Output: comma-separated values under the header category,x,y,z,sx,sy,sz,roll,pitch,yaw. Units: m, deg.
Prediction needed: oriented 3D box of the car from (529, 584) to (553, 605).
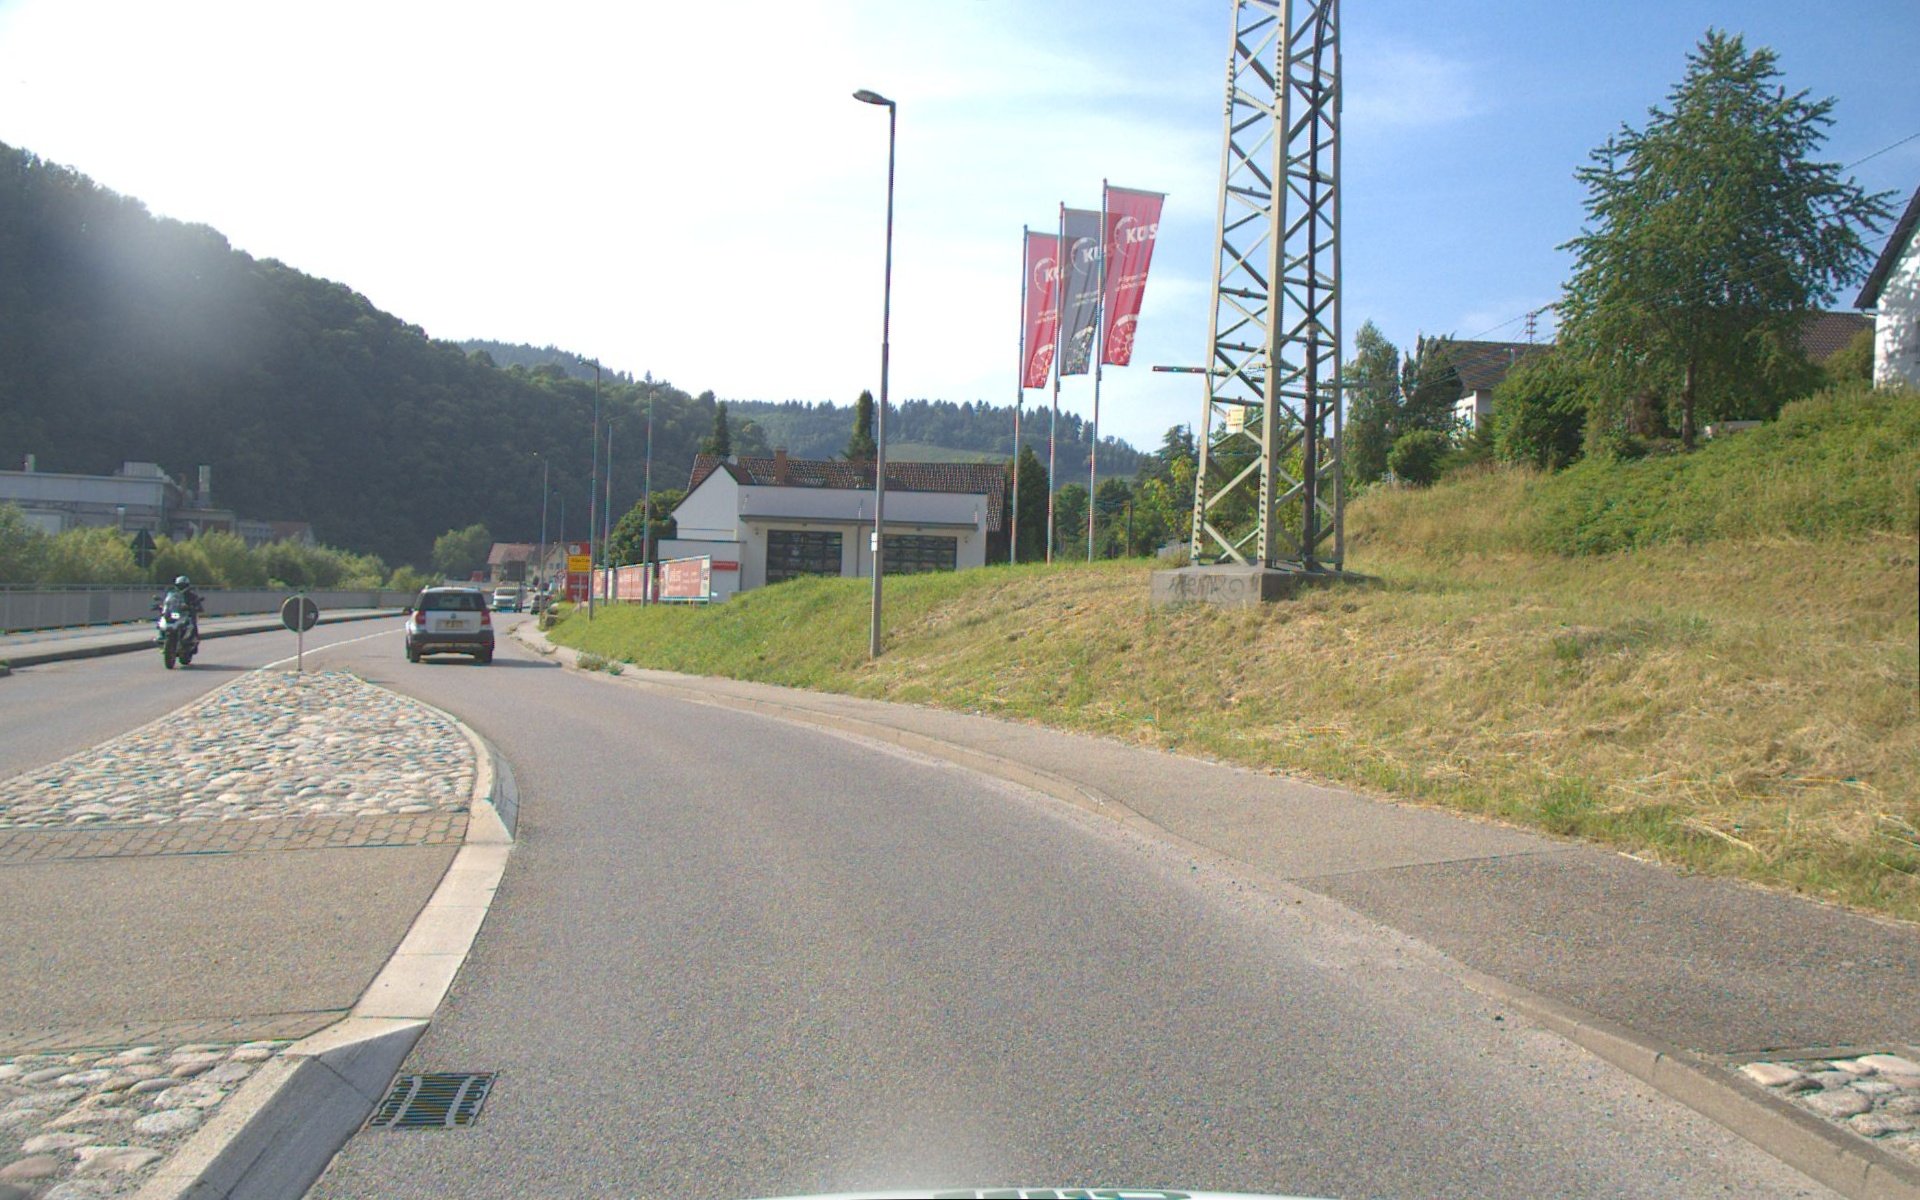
category,x,y,z,sx,sy,sz,roll,pitch,yaw
car,-32.219,-0.441,127.172,1.427,1.460,2.930,2,1,-9

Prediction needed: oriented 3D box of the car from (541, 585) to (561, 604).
category,x,y,z,sx,sy,sz,roll,pitch,yaw
car,-33.708,-0.459,136.300,1.332,1.460,2.832,2,1,-10

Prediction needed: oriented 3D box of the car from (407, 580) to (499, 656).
category,x,y,z,sx,sy,sz,roll,pitch,yaw
car,-11.534,0.380,37.504,1.832,1.571,4.350,2,0,-18

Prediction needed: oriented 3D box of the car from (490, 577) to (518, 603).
category,x,y,z,sx,sy,sz,roll,pitch,yaw
car,-37.043,-0.784,134.490,1.886,2.002,5.130,1,-1,-12

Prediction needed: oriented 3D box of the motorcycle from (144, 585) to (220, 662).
category,x,y,z,sx,sy,sz,roll,pitch,yaw
motorcycle,-15.081,0.432,32.118,0.758,1.447,2.312,1,0,-10

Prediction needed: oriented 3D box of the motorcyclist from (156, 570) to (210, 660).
category,x,y,z,sx,sy,sz,roll,pitch,yaw
motorcyclist,-15.094,0.290,32.163,0.749,1.707,0.725,1,-1,-10
